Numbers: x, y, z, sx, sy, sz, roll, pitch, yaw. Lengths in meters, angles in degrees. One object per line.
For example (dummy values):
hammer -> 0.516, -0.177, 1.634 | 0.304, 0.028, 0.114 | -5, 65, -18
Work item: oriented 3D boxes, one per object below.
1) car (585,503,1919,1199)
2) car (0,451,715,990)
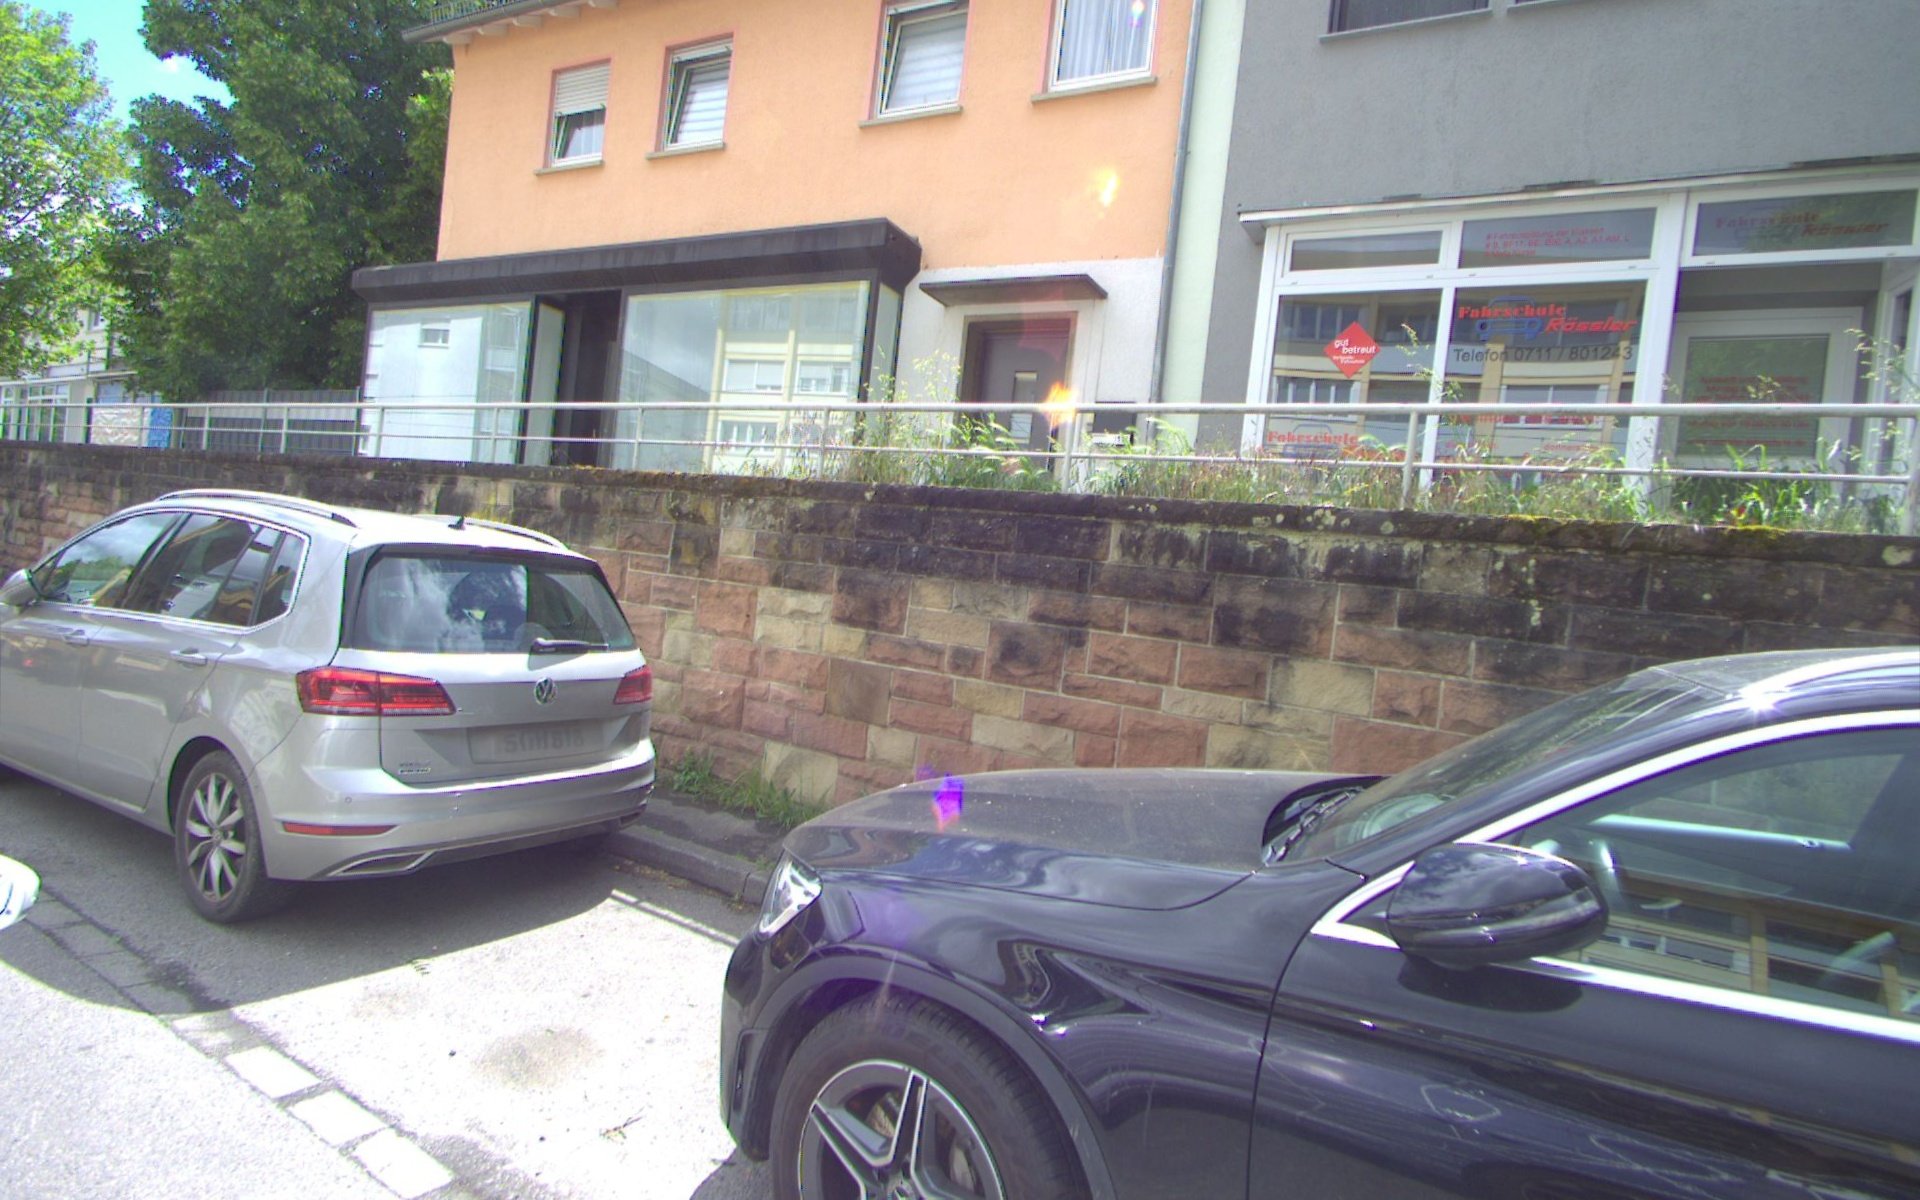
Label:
car -> 1.525, 0.841, 1.924 | 4.373, 1.639, 1.791 | 6, 2, 31
car -> -3.444, 0.254, 4.972 | 4.177, 1.638, 1.791 | 6, 1, 31
